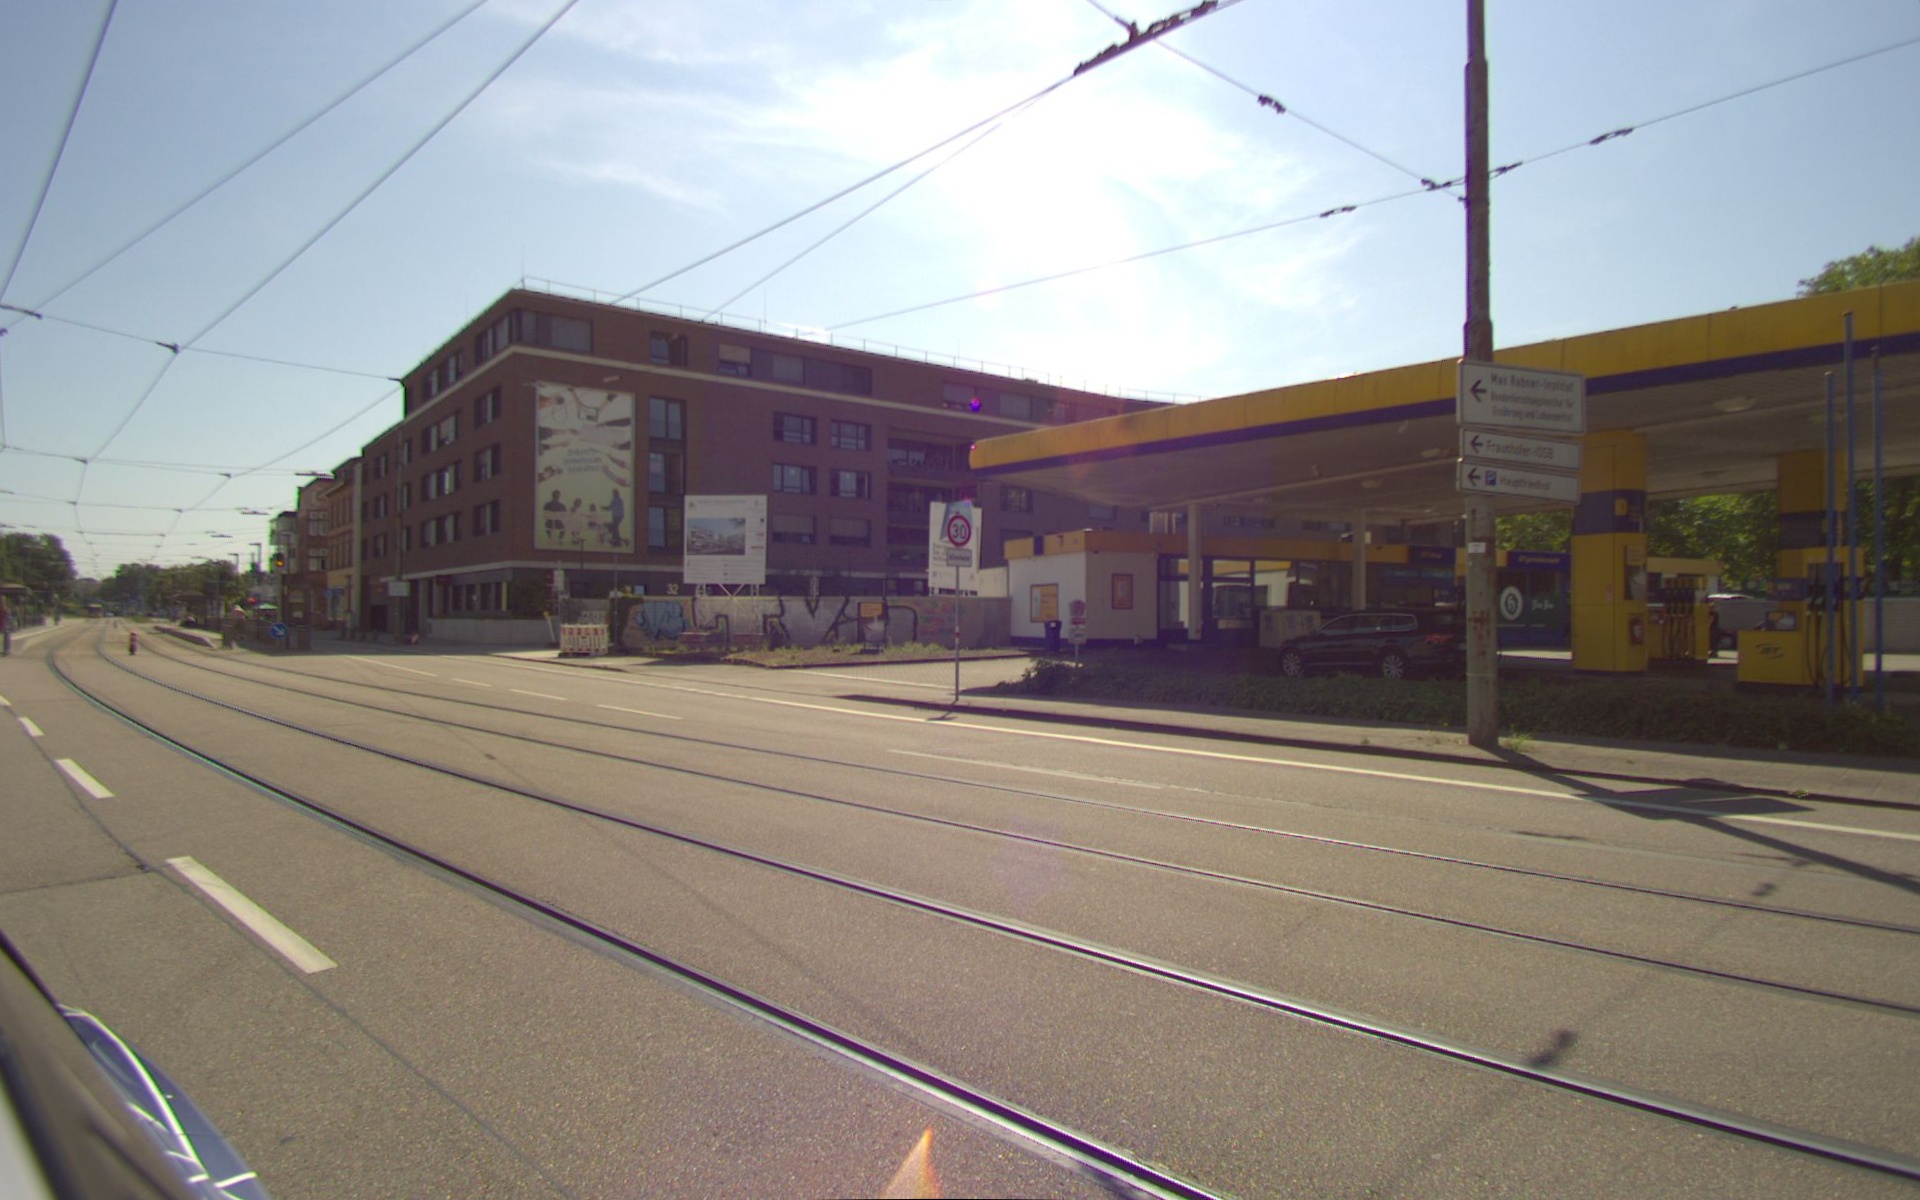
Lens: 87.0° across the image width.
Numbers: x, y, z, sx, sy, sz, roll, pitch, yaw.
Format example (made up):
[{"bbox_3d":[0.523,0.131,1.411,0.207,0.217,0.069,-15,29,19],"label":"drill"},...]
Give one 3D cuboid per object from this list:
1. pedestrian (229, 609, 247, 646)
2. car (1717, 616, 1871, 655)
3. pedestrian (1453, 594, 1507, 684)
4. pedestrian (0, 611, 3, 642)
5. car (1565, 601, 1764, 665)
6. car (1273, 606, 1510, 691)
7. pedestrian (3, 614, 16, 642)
[{"bbox_3d":[-34.746,1.311,48.704,0.793,1.773,0.550,-1,-1,43],"label":"pedestrian"},{"bbox_3d":[31.391,1.300,38.220,1.731,1.370,4.146,0,-1,-26],"label":"car"},{"bbox_3d":[10.335,0.756,20.112,0.745,1.738,0.846,-1,-1,44],"label":"pedestrian"},{"bbox_3d":[-52.807,1.425,55.276,0.416,1.703,0.698,-1,-2,41],"label":"pedestrian"},{"bbox_3d":[23.754,1.055,34.395,1.731,1.997,5.324,0,-1,-28],"label":"car"},{"bbox_3d":[8.716,0.963,20.896,1.731,1.466,4.424,-3,-1,-25],"label":"car"},{"bbox_3d":[-59.772,1.763,63.653,0.706,1.703,0.411,-1,-2,35],"label":"pedestrian"}]
